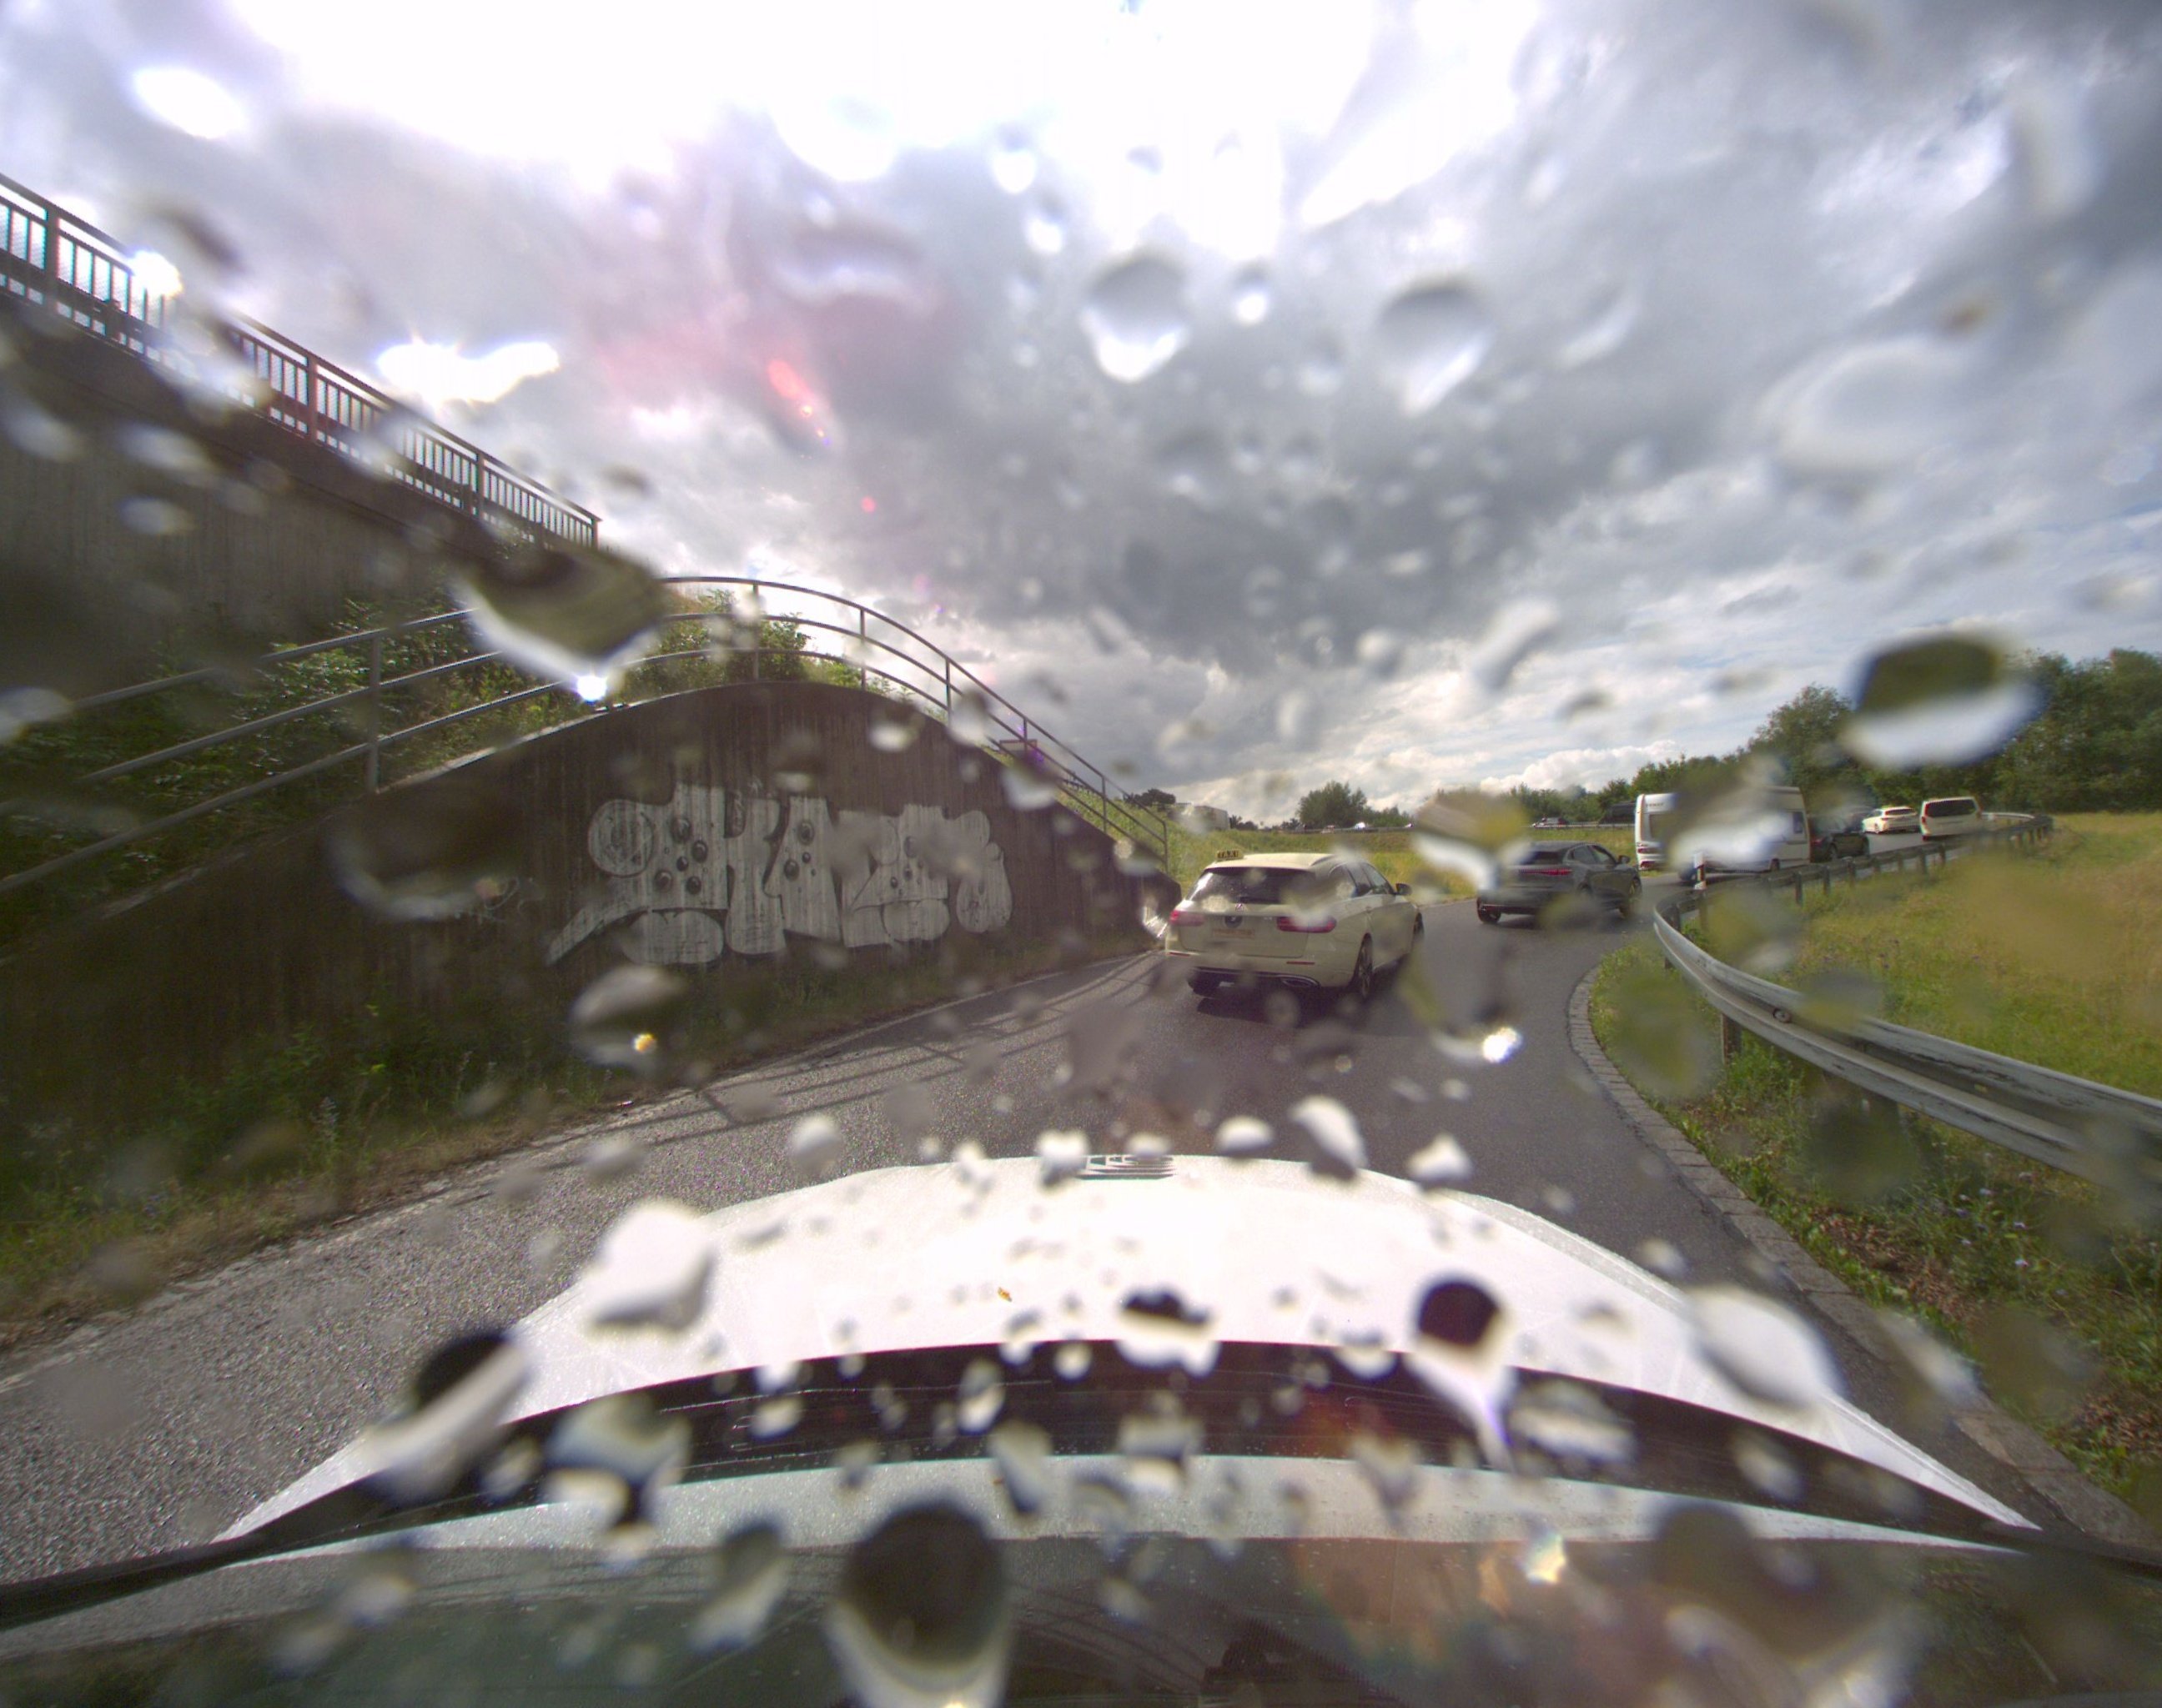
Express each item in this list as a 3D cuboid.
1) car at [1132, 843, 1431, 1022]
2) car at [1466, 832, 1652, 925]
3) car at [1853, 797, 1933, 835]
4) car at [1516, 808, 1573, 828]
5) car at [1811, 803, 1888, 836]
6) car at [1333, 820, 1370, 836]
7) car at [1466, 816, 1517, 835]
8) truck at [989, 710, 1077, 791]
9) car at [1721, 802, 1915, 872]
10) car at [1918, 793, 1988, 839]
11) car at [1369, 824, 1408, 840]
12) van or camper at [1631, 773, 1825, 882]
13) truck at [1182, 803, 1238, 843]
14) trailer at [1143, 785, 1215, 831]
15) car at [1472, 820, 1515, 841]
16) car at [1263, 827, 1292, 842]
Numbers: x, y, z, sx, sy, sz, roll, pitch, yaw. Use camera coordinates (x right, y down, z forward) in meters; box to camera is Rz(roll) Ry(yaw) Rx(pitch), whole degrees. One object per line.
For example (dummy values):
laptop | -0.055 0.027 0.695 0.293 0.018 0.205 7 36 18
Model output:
car | 2.571 0.667 9.385 1.897 1.507 4.625 -2 0 33
car | 9.055 0.412 15.313 4.020 1.525 1.703 -1 -1 -39
car | 45.622 -2.084 45.903 1.974 1.861 5.089 -1 0 31
car | 50.238 -3.888 88.418 2.004 1.861 5.012 -2 -1 -27
car | 50.429 -2.235 53.562 1.976 1.861 5.085 -3 -1 23
car | 38.416 -3.673 115.745 2.005 1.861 5.010 -2 -1 -28
car | 47.747 -3.331 94.862 2.006 1.861 5.007 -2 -1 -31
truck | -3.049 -6.777 55.294 3.157 3.967 9.272 -1 -2 15
car | 23.383 -0.562 25.827 5.768 1.925 2.417 -3 1 -24
car | 39.586 -1.655 36.962 5.085 1.861 1.976 -1 -2 -43
car | 40.801 -2.921 108.127 2.012 1.861 4.455 -1 -2 -44
van or camper | 18.460 -0.745 23.161 6.022 2.729 2.414 -2 0 -32
truck | 19.395 -4.315 120.630 4.423 4.504 19.469 -1 -2 20
trailer | 12.666 -5.482 102.181 4.376 3.956 20.315 -1 -2 20
car | 47.765 -2.691 94.345 2.003 2.014 3.966 0 -5 -25
car | 27.988 -2.773 115.818 3.958 2.014 1.833 -1 -2 14
